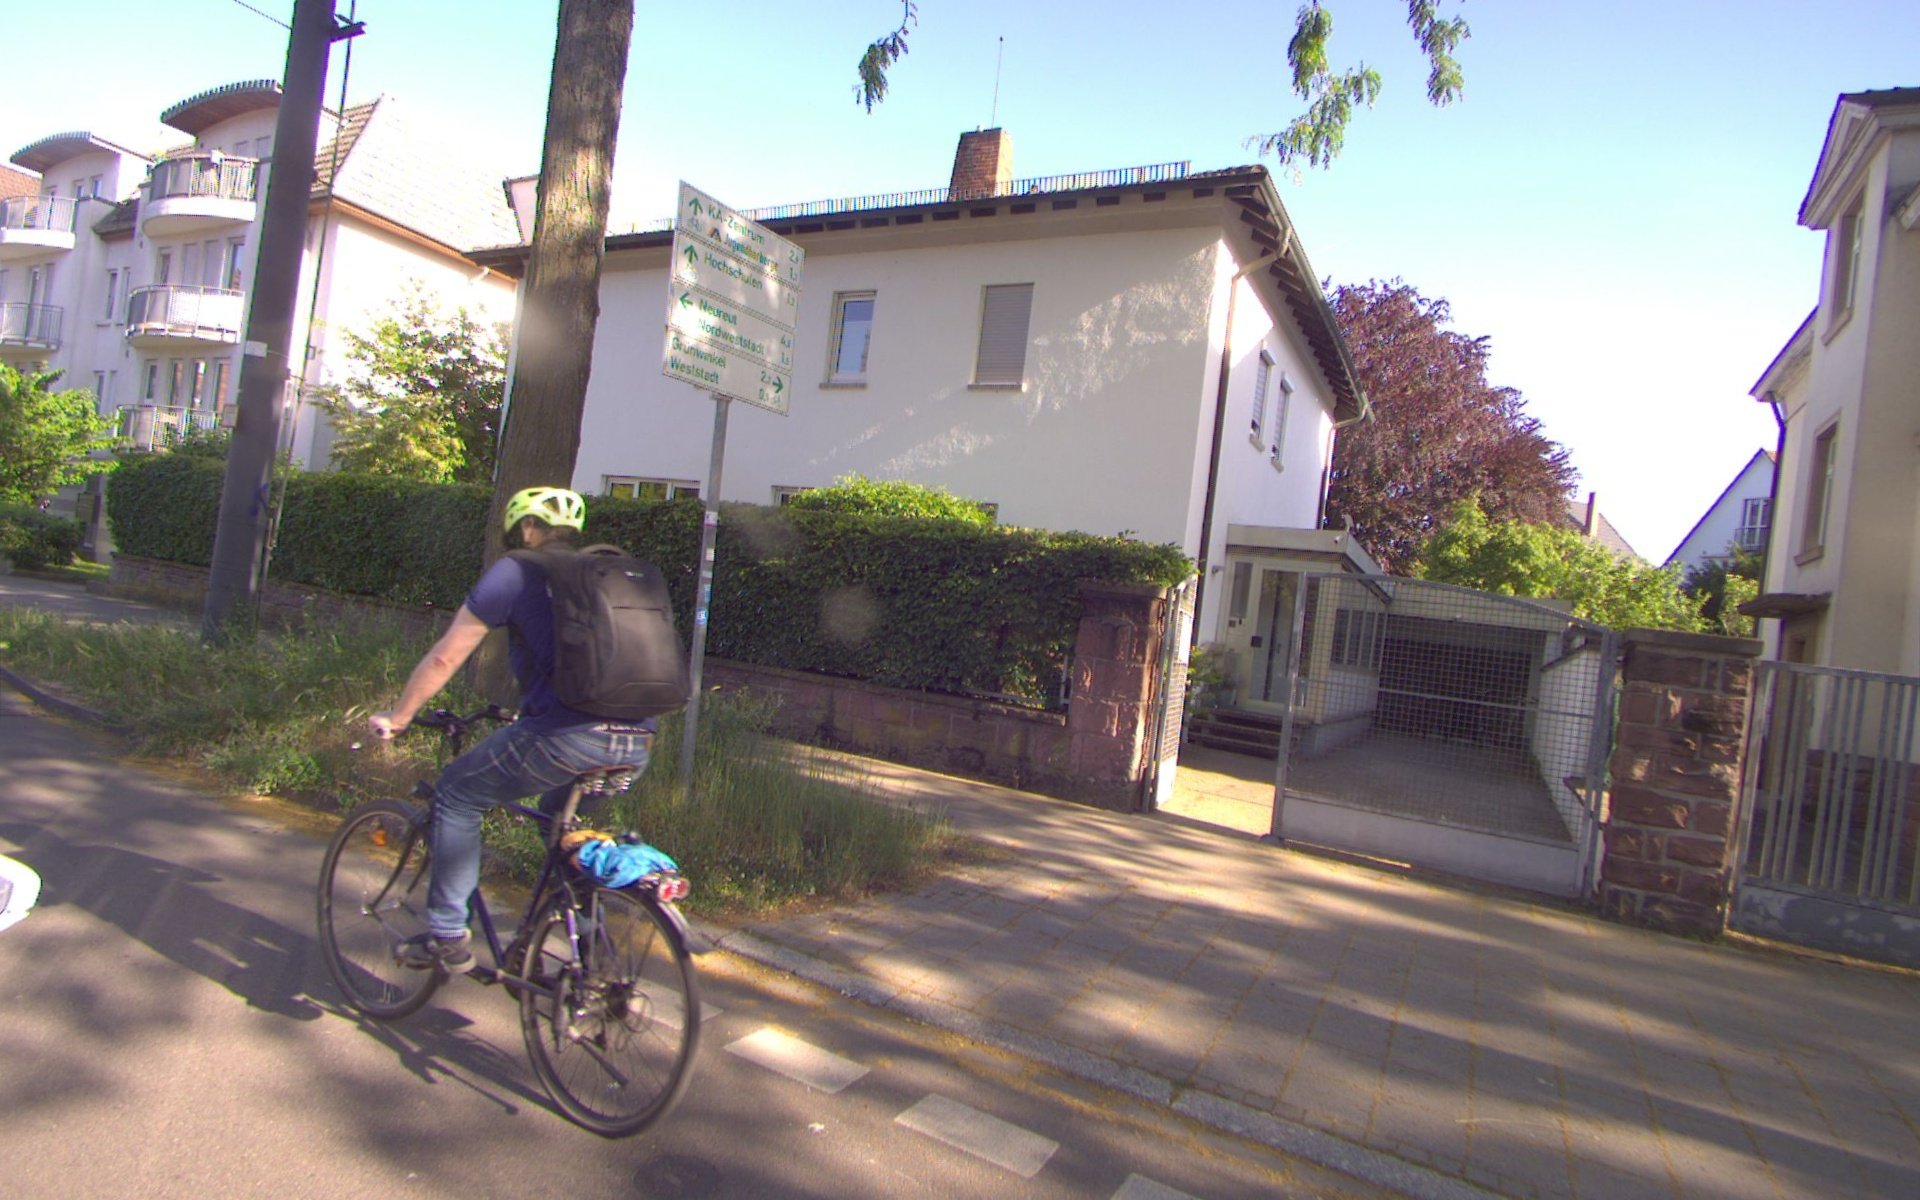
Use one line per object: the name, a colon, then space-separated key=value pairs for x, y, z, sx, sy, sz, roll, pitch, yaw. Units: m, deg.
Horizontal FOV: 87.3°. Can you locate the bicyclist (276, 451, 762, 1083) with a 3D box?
bicyclist: x=-1.302 y=0.385 z=2.968 sx=1.096 sy=1.505 sz=0.645 roll=6 pitch=-1 yaw=32

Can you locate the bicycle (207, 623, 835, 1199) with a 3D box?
bicycle: x=-1.368 y=0.771 z=2.975 sx=1.870 sy=1.157 sz=0.643 roll=7 pitch=0 yaw=32
